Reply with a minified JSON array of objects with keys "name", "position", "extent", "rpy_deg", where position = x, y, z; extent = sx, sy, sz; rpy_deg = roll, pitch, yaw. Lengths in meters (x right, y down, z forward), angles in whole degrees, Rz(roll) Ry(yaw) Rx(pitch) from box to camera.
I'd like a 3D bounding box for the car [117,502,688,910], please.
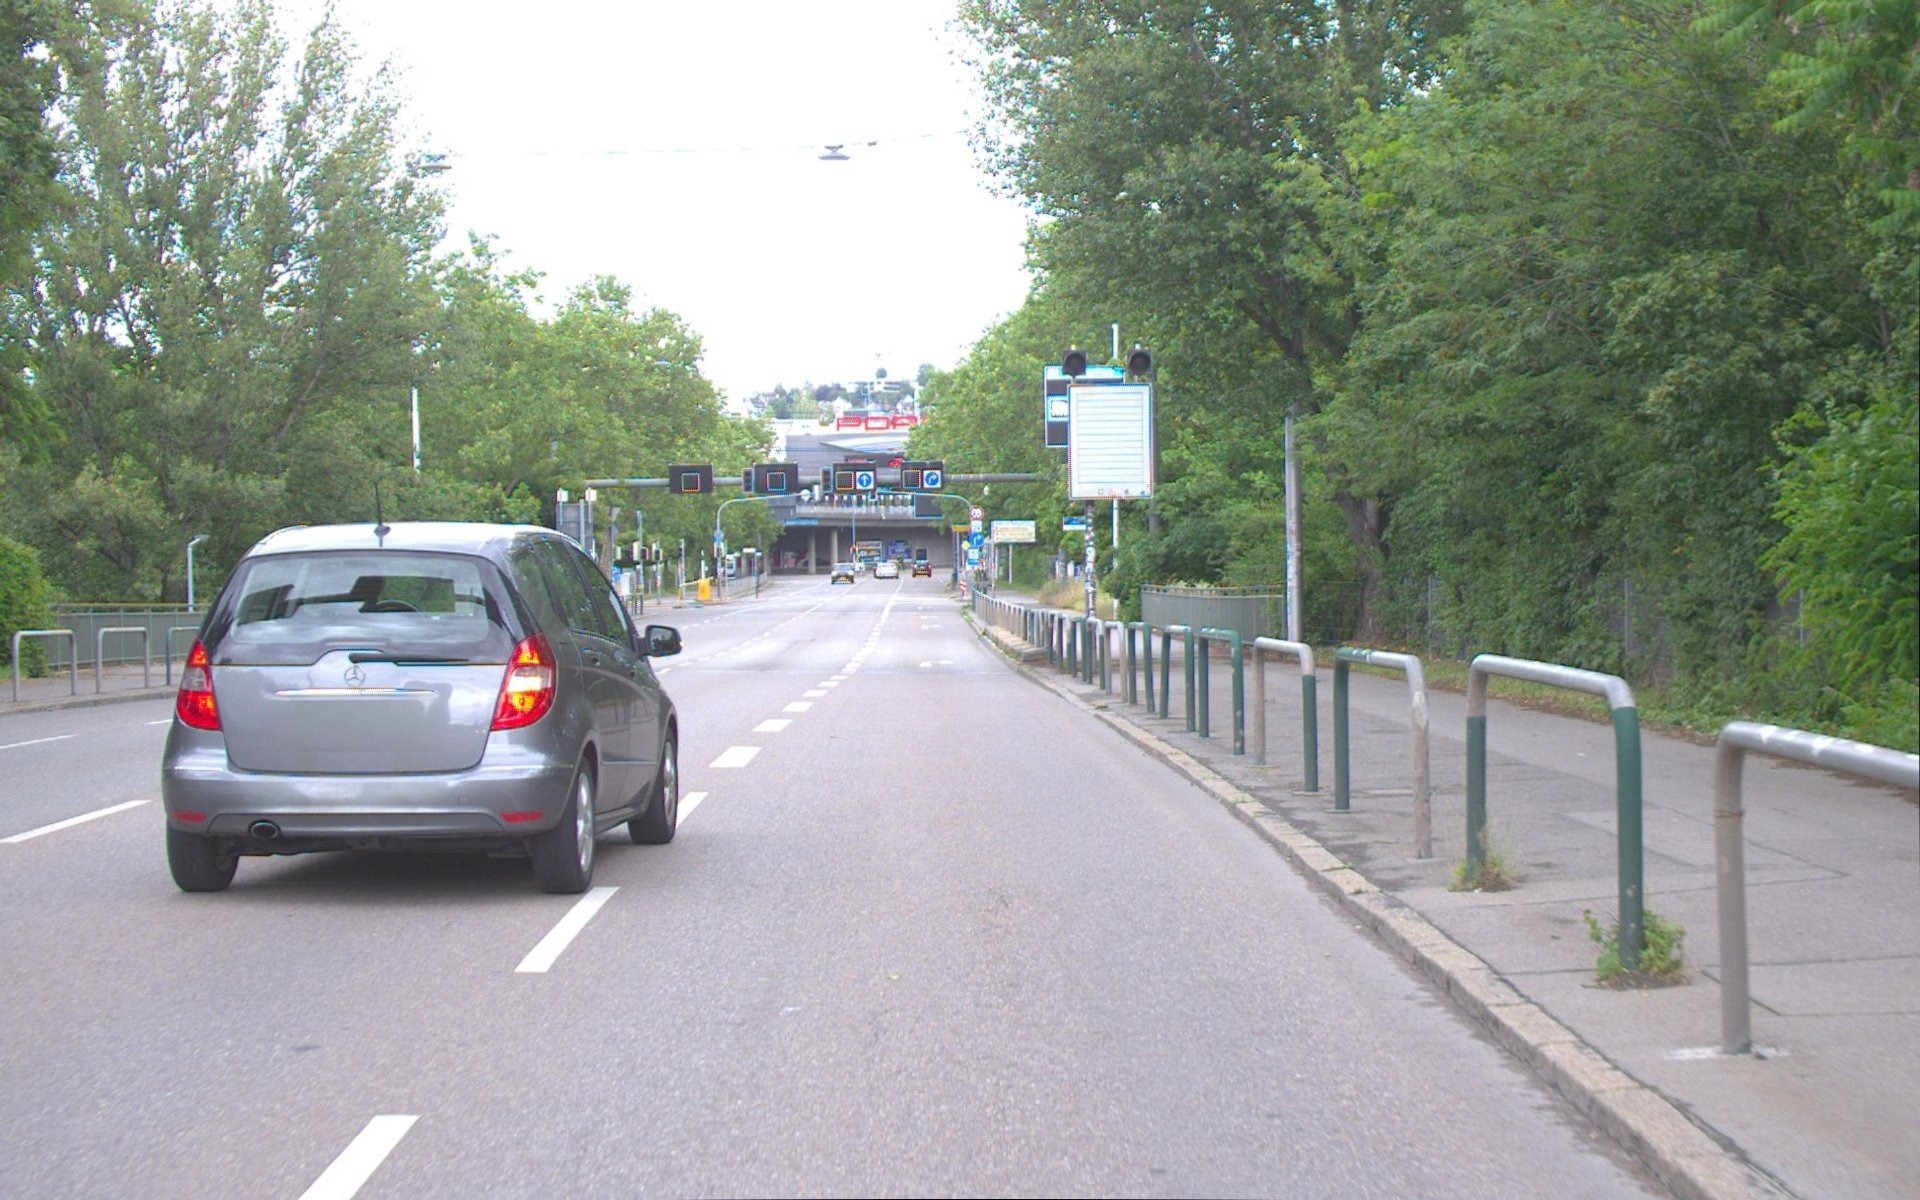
[{"name":"car","position":[-2.393,0.426,15.768],"extent":[1.826,1.611,4.034],"rpy_deg":[1,0,2]}]
